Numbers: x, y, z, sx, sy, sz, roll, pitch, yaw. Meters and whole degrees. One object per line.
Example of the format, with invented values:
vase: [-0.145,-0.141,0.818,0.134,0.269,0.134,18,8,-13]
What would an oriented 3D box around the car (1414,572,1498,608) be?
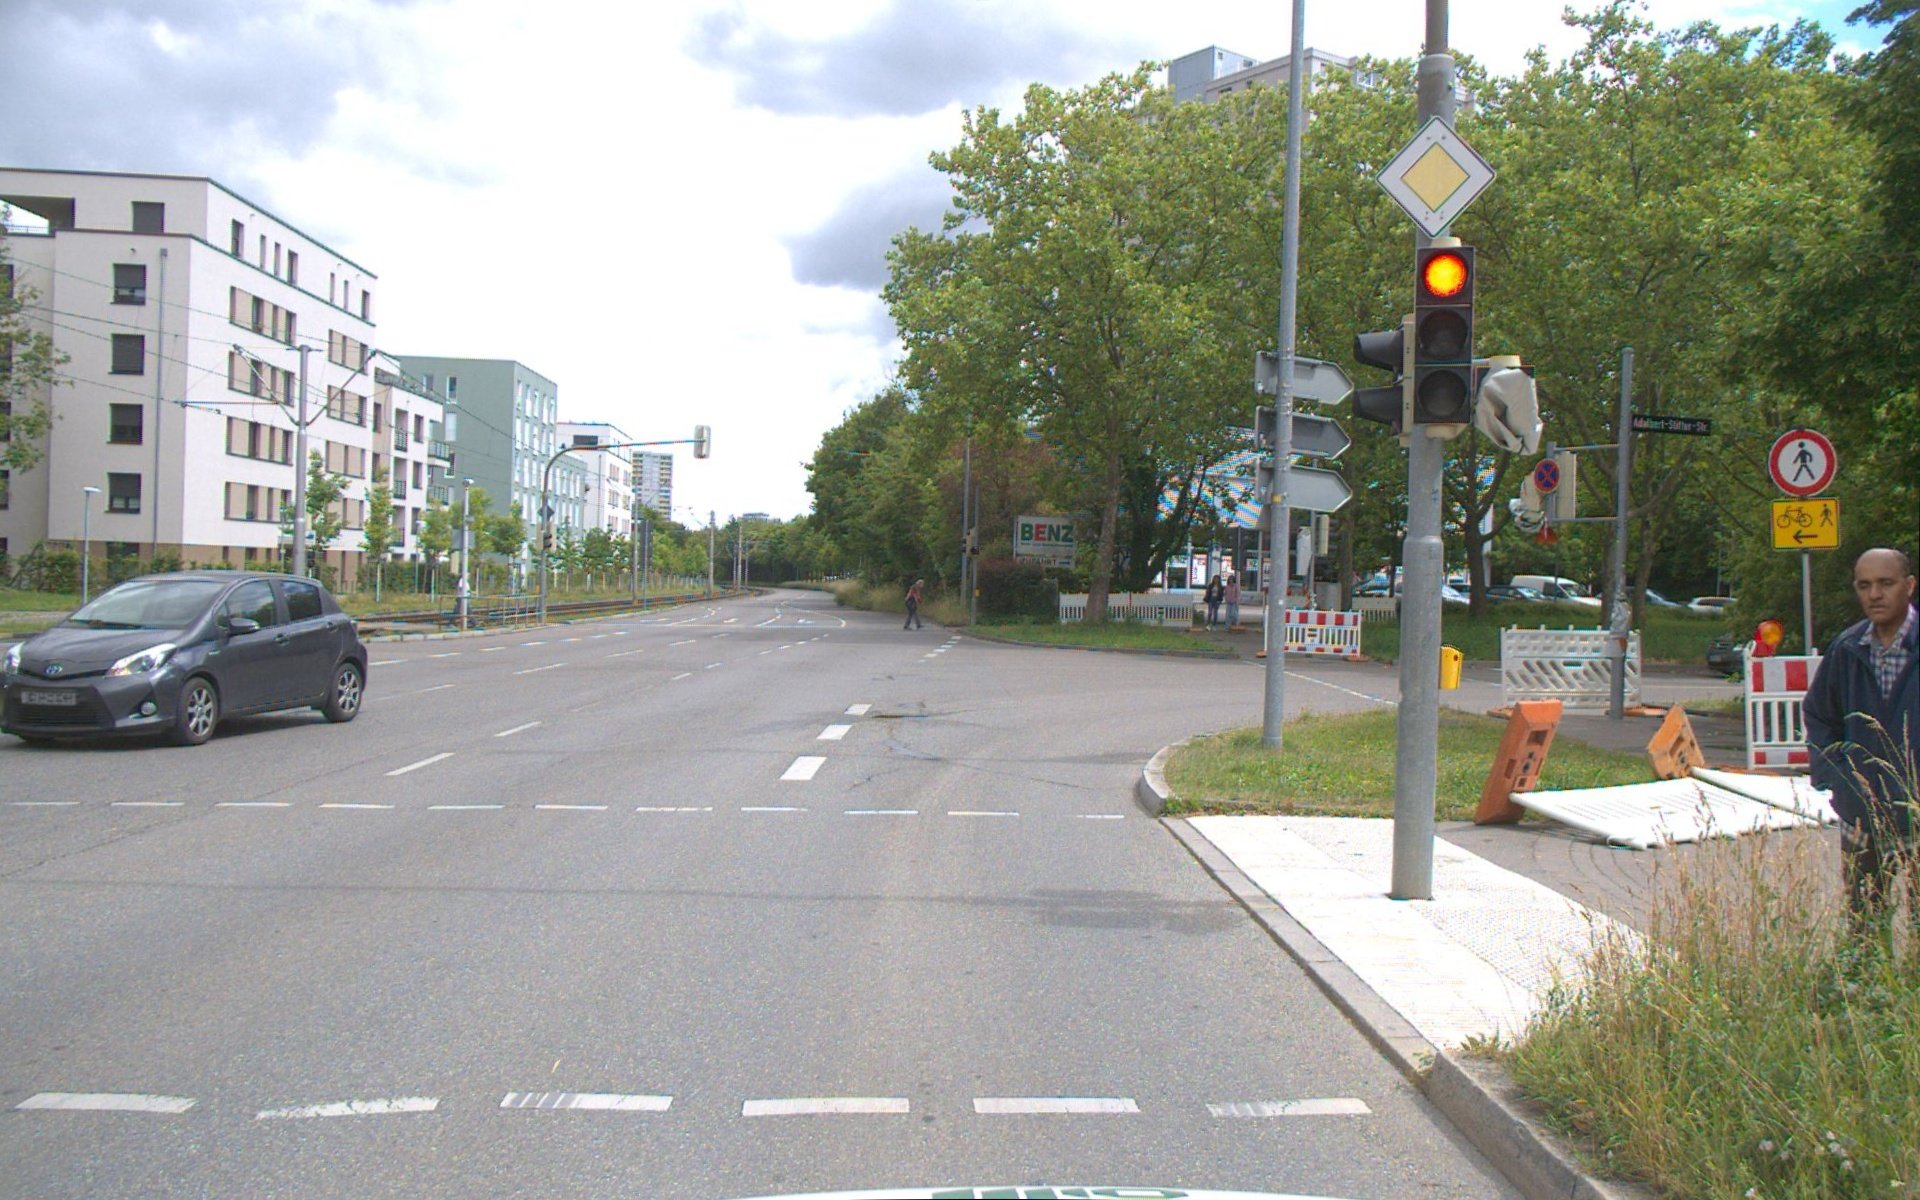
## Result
car: [24.053,-0.499,80.245,1.650,1.663,3.783,1,1,-30]

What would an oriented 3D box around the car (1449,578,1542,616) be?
car: [21.095,-0.119,65.247,1.464,1.429,3.375,1,0,-30]

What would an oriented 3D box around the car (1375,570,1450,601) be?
car: [21.468,-0.687,78.547,1.465,1.429,3.372,1,0,-31]

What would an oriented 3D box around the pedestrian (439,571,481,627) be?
pedestrian: [-14.618,-0.034,48.332,0.779,1.614,0.849,1,-1,30]

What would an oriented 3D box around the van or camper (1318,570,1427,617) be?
van or camper: [15.489,-0.255,62.227,1.819,1.713,3.964,0,1,-28]

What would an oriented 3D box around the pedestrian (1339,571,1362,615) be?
pedestrian: [18.291,-0.346,77.448,0.789,2.037,0.852,1,-1,-5]

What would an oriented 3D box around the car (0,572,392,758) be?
car: [-7.165,0.506,15.546,1.739,1.495,4.047,1,1,9]

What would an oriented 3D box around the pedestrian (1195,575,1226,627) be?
pedestrian: [7.342,0.028,48.428,0.704,1.515,0.698,1,-1,28]

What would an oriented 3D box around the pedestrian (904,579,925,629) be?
pedestrian: [-1.431,0.124,51.996,0.640,1.565,0.772,1,-1,-1]

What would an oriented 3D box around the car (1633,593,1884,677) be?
car: [16.328,0.707,33.963,4.307,1.614,1.772,1,0,0]

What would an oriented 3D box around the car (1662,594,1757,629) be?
car: [34.180,0.514,75.537,1.708,1.526,3.712,1,0,-27]

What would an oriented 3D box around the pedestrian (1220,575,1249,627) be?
pedestrian: [8.082,0.032,48.747,0.672,1.515,0.699,1,-1,25]

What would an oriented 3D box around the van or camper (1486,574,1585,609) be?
van or camper: [23.594,-0.339,67.877,1.499,1.380,3.732,1,0,-33]

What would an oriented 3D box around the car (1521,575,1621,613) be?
car: [25.541,-0.249,69.243,1.465,1.491,3.851,1,0,-31]

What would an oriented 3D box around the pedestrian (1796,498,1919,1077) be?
pedestrian: [3.195,0.572,5.464,0.712,1.770,0.954,1,0,30]
